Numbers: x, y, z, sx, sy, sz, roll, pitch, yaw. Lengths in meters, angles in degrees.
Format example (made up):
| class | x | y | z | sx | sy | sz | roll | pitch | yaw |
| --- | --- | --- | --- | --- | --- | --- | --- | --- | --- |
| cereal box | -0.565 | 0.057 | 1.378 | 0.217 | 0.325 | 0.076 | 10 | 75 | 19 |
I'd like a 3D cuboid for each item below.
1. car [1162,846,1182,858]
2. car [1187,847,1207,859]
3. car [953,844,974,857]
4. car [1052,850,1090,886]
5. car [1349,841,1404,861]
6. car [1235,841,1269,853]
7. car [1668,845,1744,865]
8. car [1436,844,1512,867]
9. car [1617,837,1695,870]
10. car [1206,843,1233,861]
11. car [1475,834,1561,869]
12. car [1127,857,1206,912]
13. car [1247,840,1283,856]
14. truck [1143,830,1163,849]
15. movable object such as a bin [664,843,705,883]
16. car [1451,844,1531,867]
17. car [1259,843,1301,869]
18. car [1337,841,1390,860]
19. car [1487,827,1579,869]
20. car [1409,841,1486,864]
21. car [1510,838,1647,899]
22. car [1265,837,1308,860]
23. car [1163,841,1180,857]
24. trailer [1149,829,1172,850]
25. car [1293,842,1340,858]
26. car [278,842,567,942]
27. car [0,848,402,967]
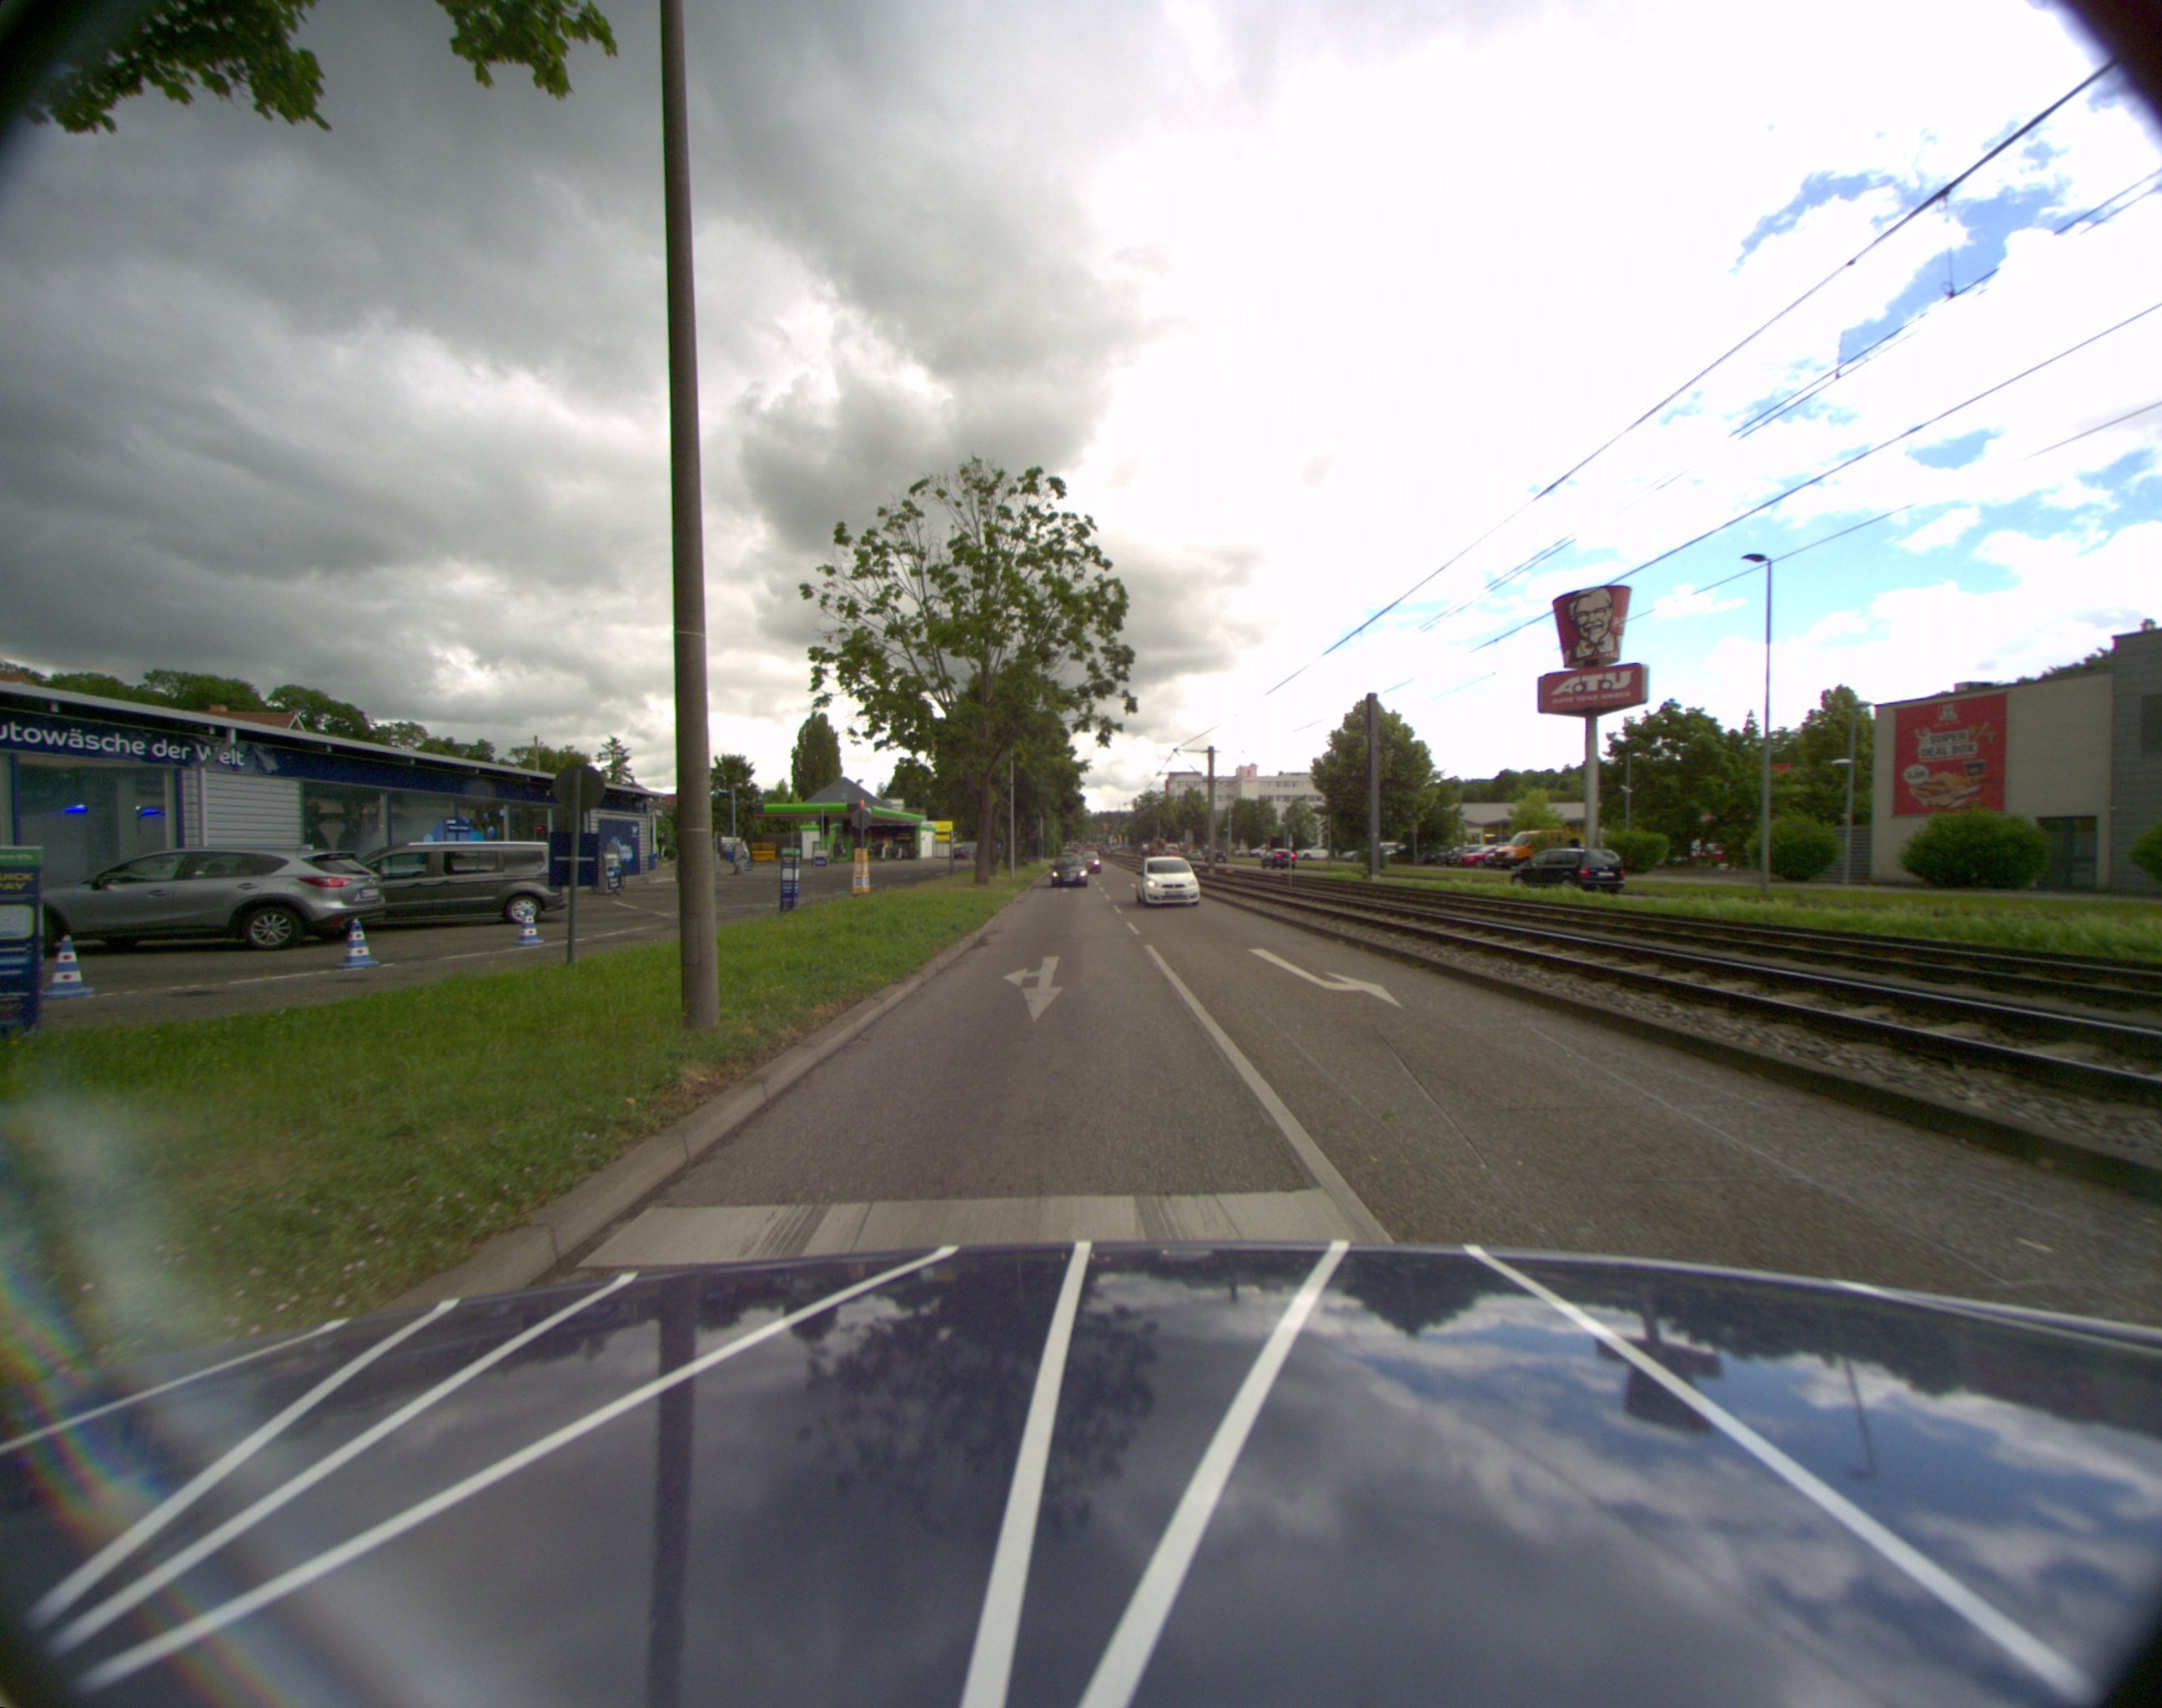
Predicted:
| class | x | y | z | sx | sy | sz | roll | pitch | yaw |
| --- | --- | --- | --- | --- | --- | --- | --- | --- | --- |
| car | 12.309 | -0.310 | 103.108 | 1.788 | 1.573 | 4.480 | 1 | 1 | -4 |
| car | 15.602 | -0.103 | 102.340 | 1.999 | 1.474 | 3.999 | 2 | 1 | -2 |
| car | -15.477 | -0.438 | 100.358 | 1.999 | 1.629 | 4.325 | 2 | 1 | 0 |
| car | -0.459 | 0.654 | 38.246 | 1.786 | 1.614 | 3.999 | -1 | 1 | 0 |
| car | 25.566 | -0.246 | 65.858 | 3.997 | 1.498 | 1.937 | -3 | 1 | -1 |
| car | 25.054 | -1.067 | 111.441 | 4.611 | 1.484 | 2.000 | -3 | 1 | 2 |
| car | 43.542 | 0.081 | 53.008 | 3.738 | 1.381 | 1.951 | 0 | 1 | -3 |
| car | 26.427 | 0.074 | 51.173 | 3.997 | 1.359 | 2.093 | -3 | 1 | -1 |
| car | 38.089 | -0.039 | 50.397 | 3.738 | 2.002 | 1.951 | -3 | 1 | -3 |
| car | 15.609 | -0.242 | 86.064 | 1.999 | 2.002 | 3.998 | 1 | 1 | -5 |
| car | 26.243 | -0.157 | 45.755 | 3.997 | 1.907 | 1.999 | -3 | 1 | -1 |
| car | 2.602 | 0.875 | 23.911 | 1.787 | 1.435 | 3.998 | -3 | 1 | -3 |
| car | 24.704 | -0.856 | 101.968 | 4.355 | 1.908 | 2.000 | -3 | 1 | 2 |
| truck | 15.032 | -2.946 | 159.364 | 2.900 | 3.943 | 8.628 | 0 | 1 | -2 |
| movable object such as a bin | -17.994 | 0.394 | 34.549 | 1.162 | 1.808 | 1.454 | 0 | 1 | -4 |
| car | 26.159 | 0.073 | 48.553 | 3.997 | 1.229 | 1.999 | -3 | 1 | -1 |
| car | 16.008 | 0.141 | 61.350 | 1.999 | 2.002 | 4.245 | 0 | 1 | -5 |
| car | 25.503 | -0.313 | 68.678 | 3.997 | 1.498 | 2.001 | -3 | 1 | -1 |
| car | 25.711 | -0.367 | 43.317 | 3.997 | 2.153 | 2.058 | -3 | 1 | -1 |
| car | 25.951 | -0.112 | 53.862 | 4.385 | 1.346 | 2.195 | -3 | 1 | -1 |
| car | 17.762 | 0.453 | 27.401 | 1.999 | 2.002 | 4.104 | 0 | 1 | -5 |
| car | 25.007 | -0.689 | 92.590 | 4.481 | 2.733 | 2.288 | 1 | 1 | -1 |
| car | 14.991 | -0.812 | 126.239 | 1.874 | 2.485 | 5.997 | 1 | 1 | -2 |
| trailer | 15.362 | -2.782 | 147.859 | 2.678 | 3.874 | 14.421 | 1 | 1 | -1 |
| car | 25.776 | -0.478 | 83.248 | 4.482 | 1.498 | 1.794 | -3 | 1 | -4 |
| car | -13.634 | 0.672 | 16.002 | 4.393 | 1.811 | 1.746 | -1 | 1 | -43 |
| car | -14.020 | 0.765 | 12.219 | 4.217 | 1.687 | 1.837 | 0 | 0 | -20 |
